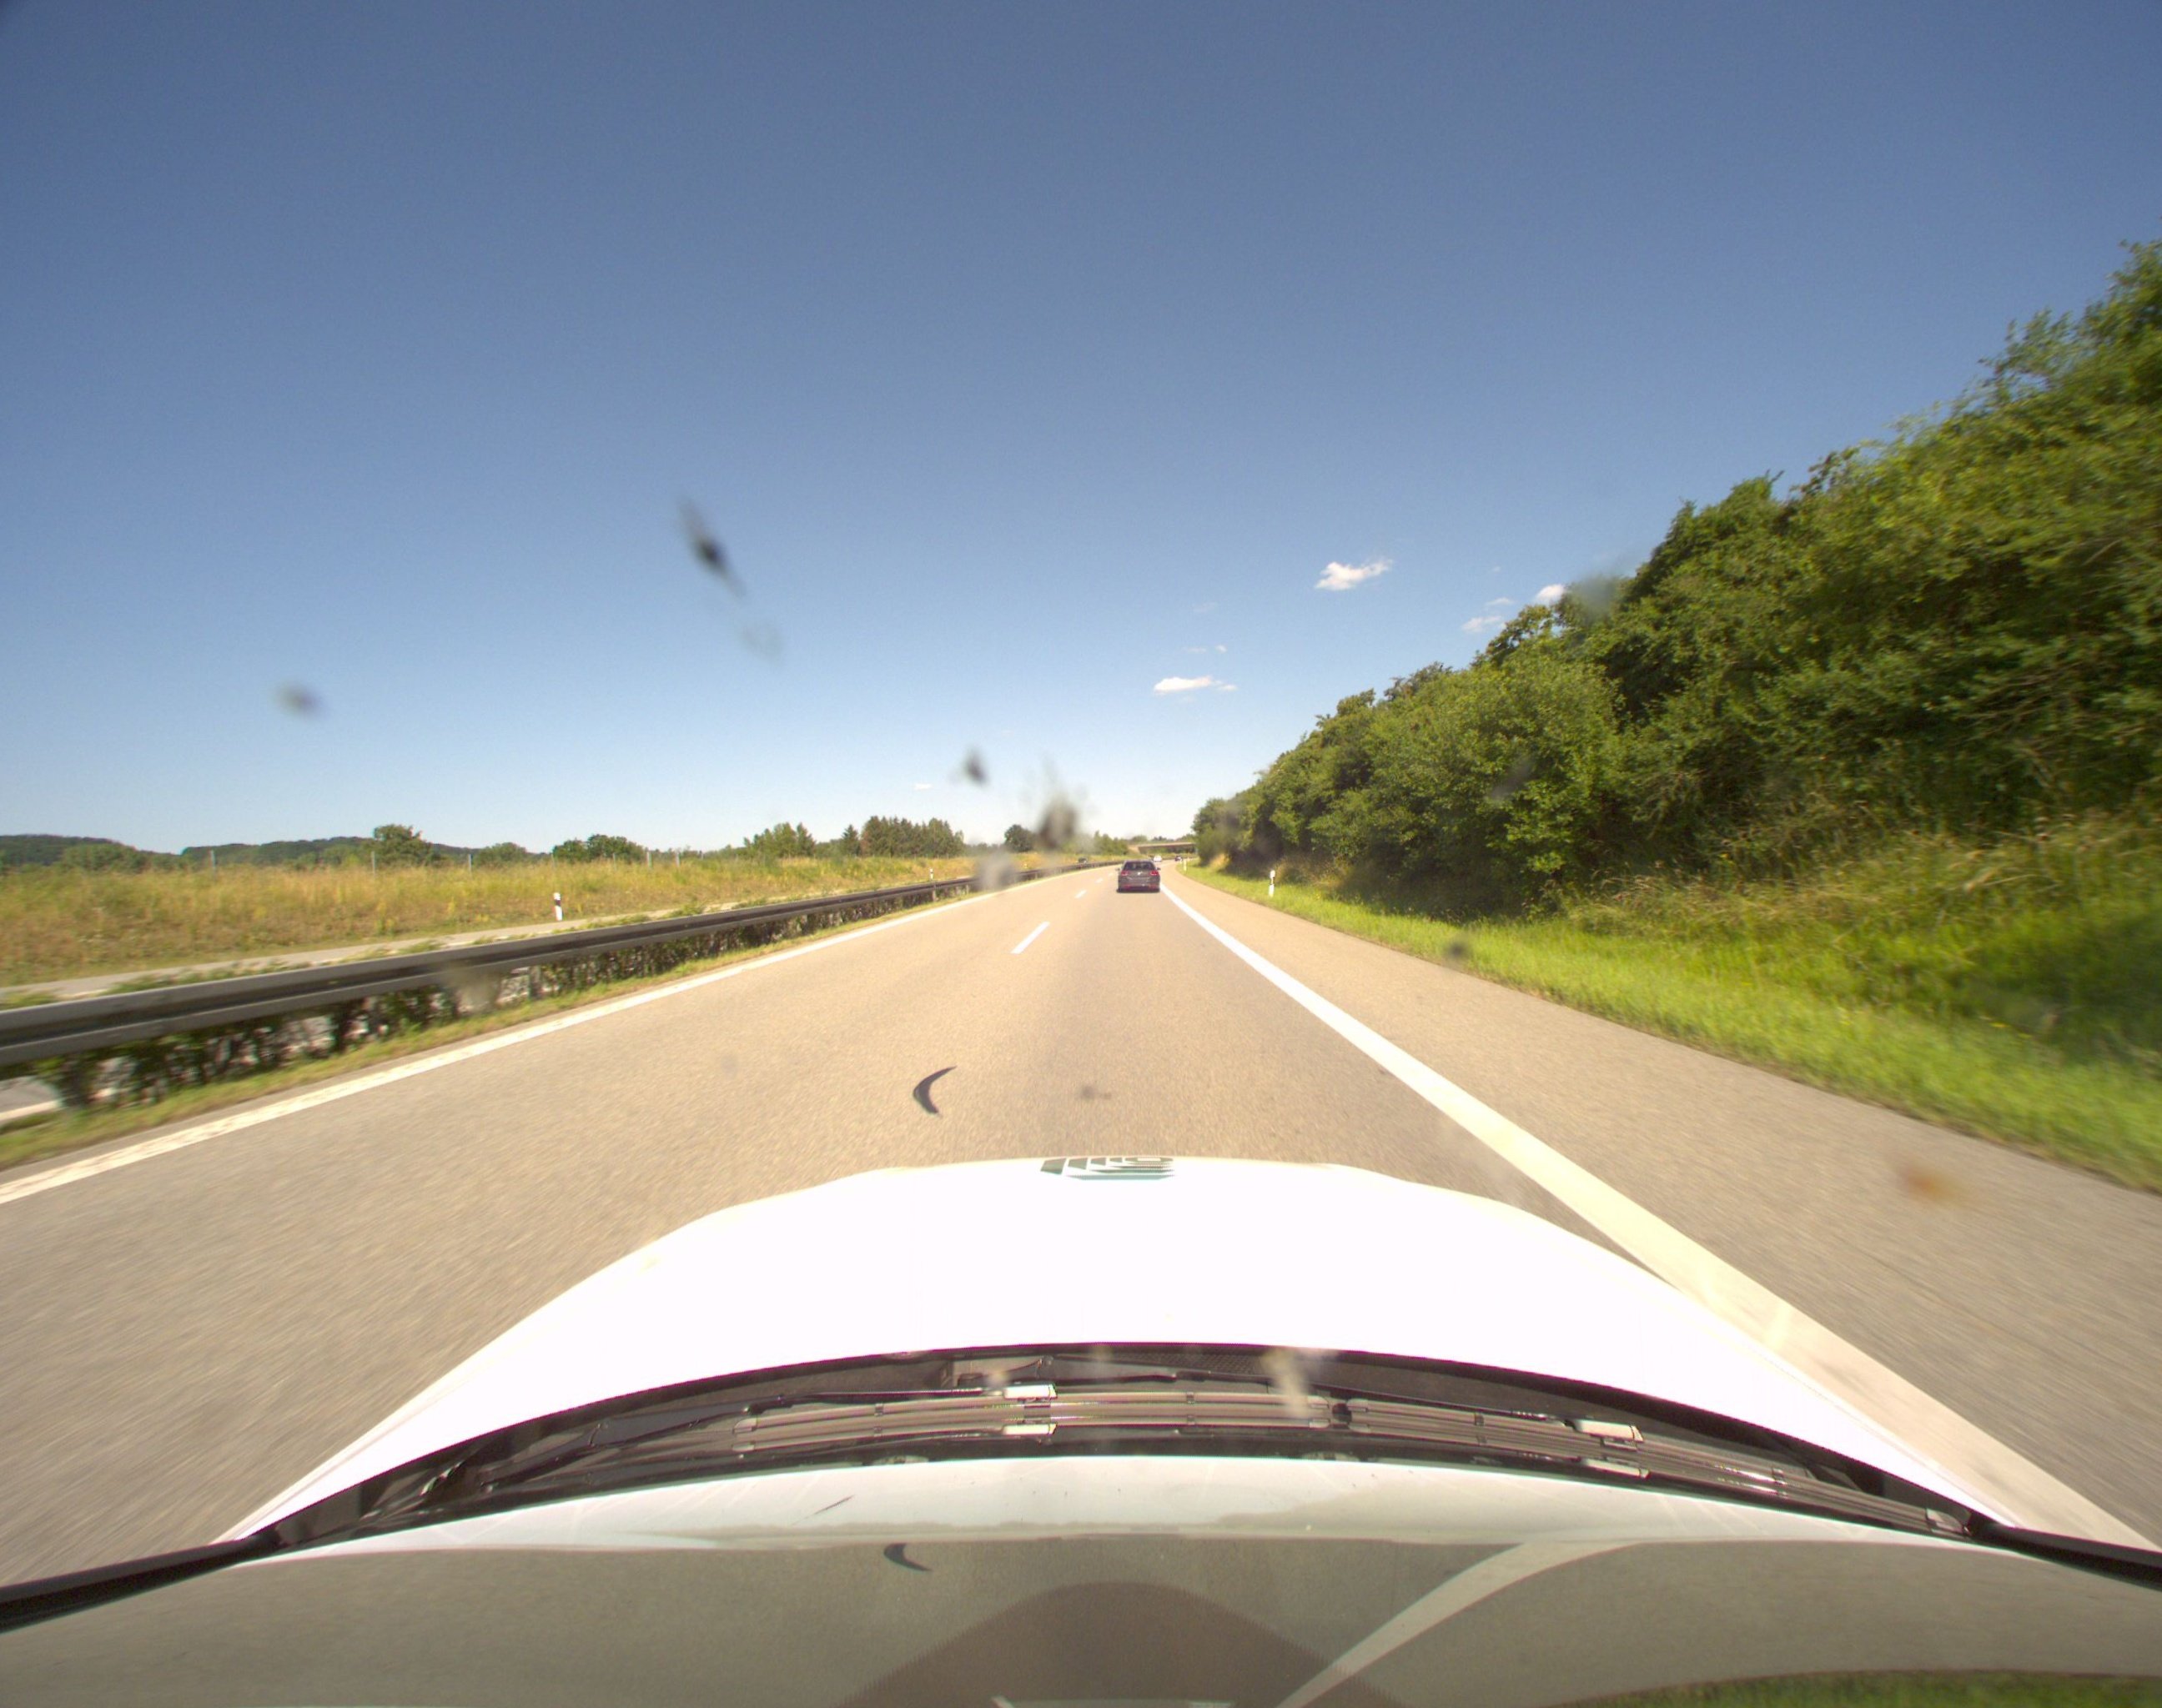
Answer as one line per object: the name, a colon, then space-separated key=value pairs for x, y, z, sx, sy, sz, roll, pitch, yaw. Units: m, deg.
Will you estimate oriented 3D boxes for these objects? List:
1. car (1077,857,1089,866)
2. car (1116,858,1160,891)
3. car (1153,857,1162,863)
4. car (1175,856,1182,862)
car: x=0.404 y=1.424 z=156.664 sx=1.821 sy=1.552 sz=4.475 roll=-1 pitch=0 yaw=8
car: x=2.526 y=0.909 z=35.554 sx=1.782 sy=1.345 sz=4.005 roll=0 pitch=-1 yaw=5
car: x=18.149 y=1.428 z=192.922 sx=1.998 sy=1.345 sz=4.004 roll=0 pitch=-2 yaw=4
car: x=24.815 y=1.282 z=206.610 sx=1.701 sy=1.387 sz=3.361 roll=0 pitch=-2 yaw=7
